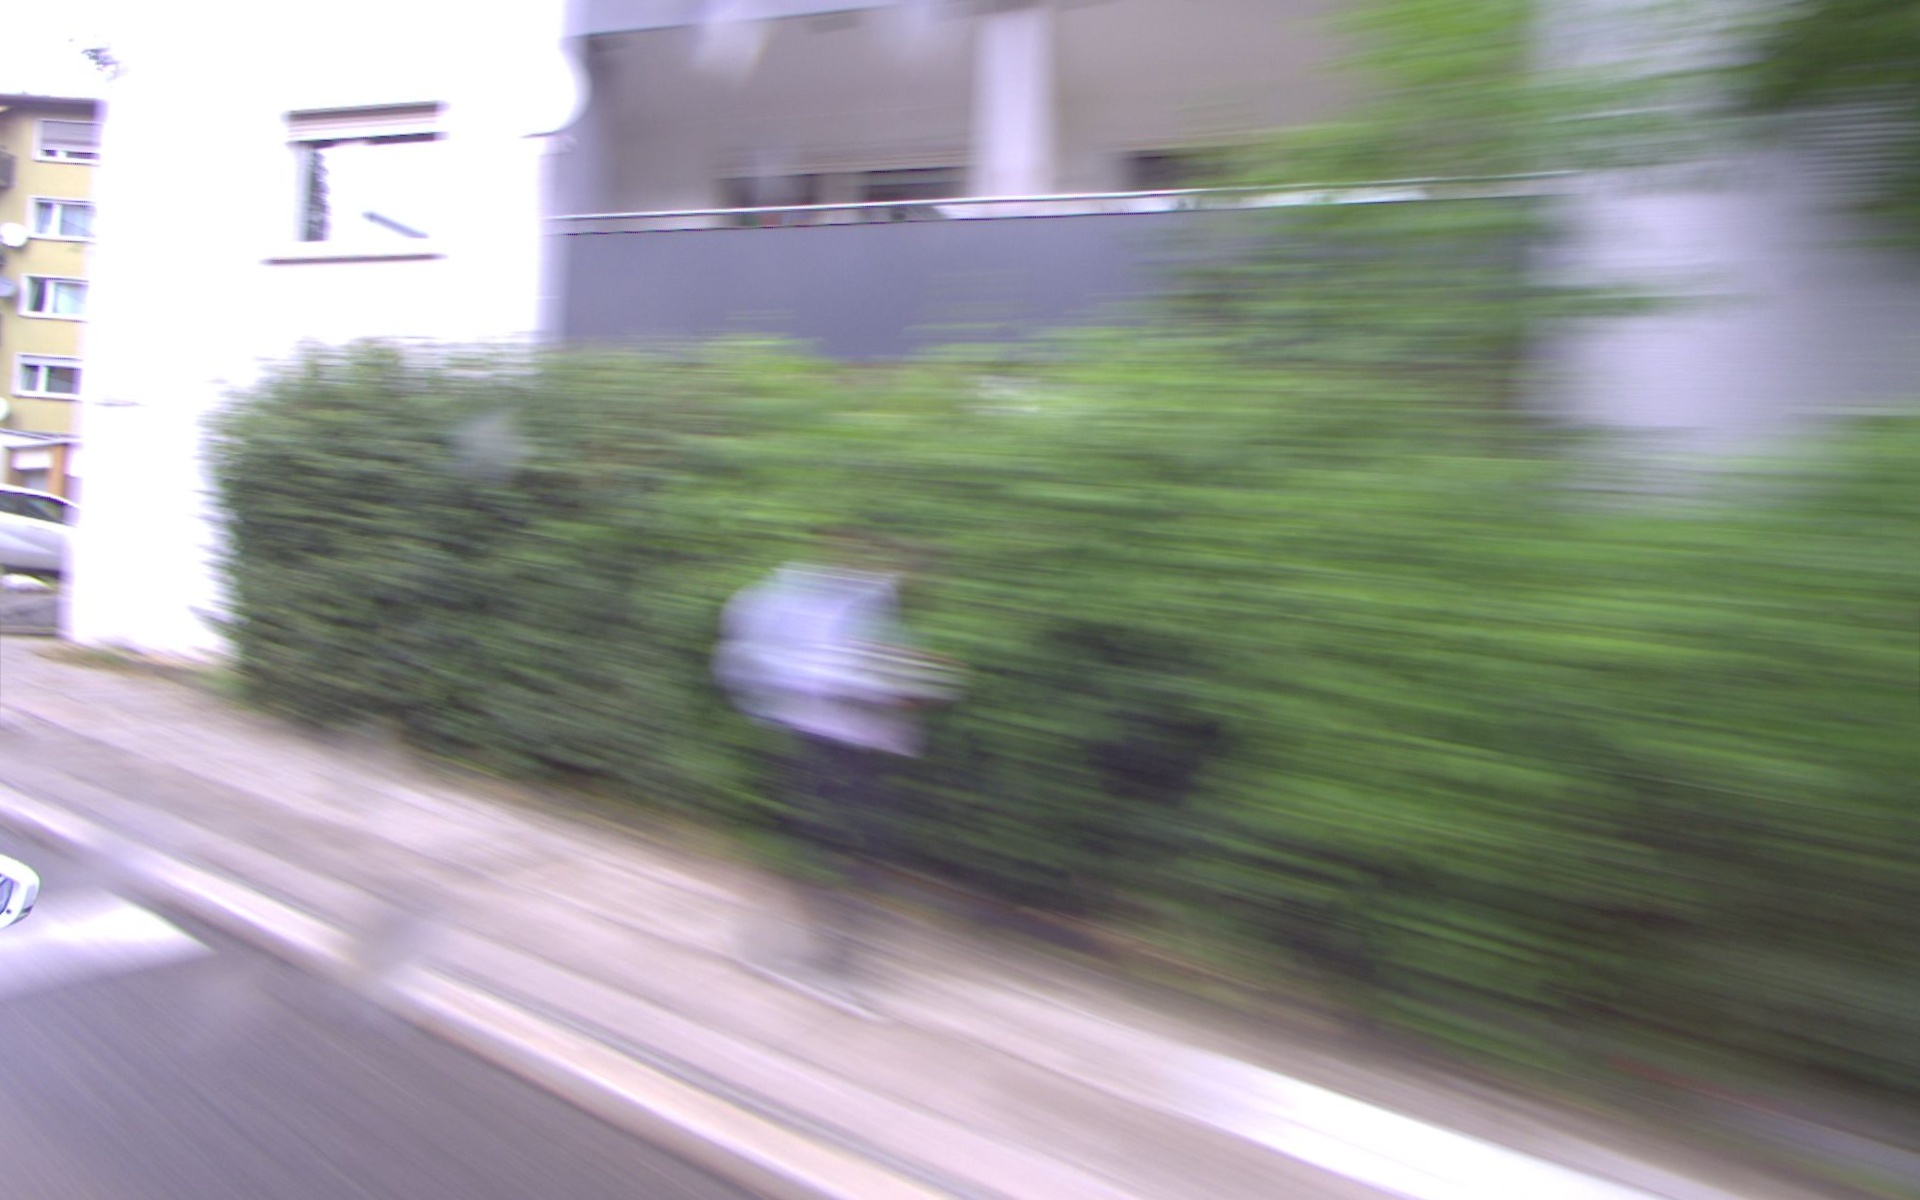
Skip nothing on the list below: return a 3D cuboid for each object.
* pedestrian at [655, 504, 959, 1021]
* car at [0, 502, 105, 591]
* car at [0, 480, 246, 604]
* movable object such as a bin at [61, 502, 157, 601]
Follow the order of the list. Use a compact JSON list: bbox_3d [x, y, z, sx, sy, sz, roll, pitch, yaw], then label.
[{"bbox_3d":[-0.538,0.537,3.665,0.620,1.639,0.657,6,-2,33],"label":"pedestrian"},{"bbox_3d":[-19.627,-1.302,18.911,1.940,1.453,4.947,9,-2,28],"label":"car"},{"bbox_3d":[-14.271,-0.952,16.262,1.784,1.483,4.003,7,-3,22],"label":"car"},{"bbox_3d":[-11.020,-0.618,13.036,0.688,1.154,0.536,7,0,12],"label":"movable object such as a bin"}]
